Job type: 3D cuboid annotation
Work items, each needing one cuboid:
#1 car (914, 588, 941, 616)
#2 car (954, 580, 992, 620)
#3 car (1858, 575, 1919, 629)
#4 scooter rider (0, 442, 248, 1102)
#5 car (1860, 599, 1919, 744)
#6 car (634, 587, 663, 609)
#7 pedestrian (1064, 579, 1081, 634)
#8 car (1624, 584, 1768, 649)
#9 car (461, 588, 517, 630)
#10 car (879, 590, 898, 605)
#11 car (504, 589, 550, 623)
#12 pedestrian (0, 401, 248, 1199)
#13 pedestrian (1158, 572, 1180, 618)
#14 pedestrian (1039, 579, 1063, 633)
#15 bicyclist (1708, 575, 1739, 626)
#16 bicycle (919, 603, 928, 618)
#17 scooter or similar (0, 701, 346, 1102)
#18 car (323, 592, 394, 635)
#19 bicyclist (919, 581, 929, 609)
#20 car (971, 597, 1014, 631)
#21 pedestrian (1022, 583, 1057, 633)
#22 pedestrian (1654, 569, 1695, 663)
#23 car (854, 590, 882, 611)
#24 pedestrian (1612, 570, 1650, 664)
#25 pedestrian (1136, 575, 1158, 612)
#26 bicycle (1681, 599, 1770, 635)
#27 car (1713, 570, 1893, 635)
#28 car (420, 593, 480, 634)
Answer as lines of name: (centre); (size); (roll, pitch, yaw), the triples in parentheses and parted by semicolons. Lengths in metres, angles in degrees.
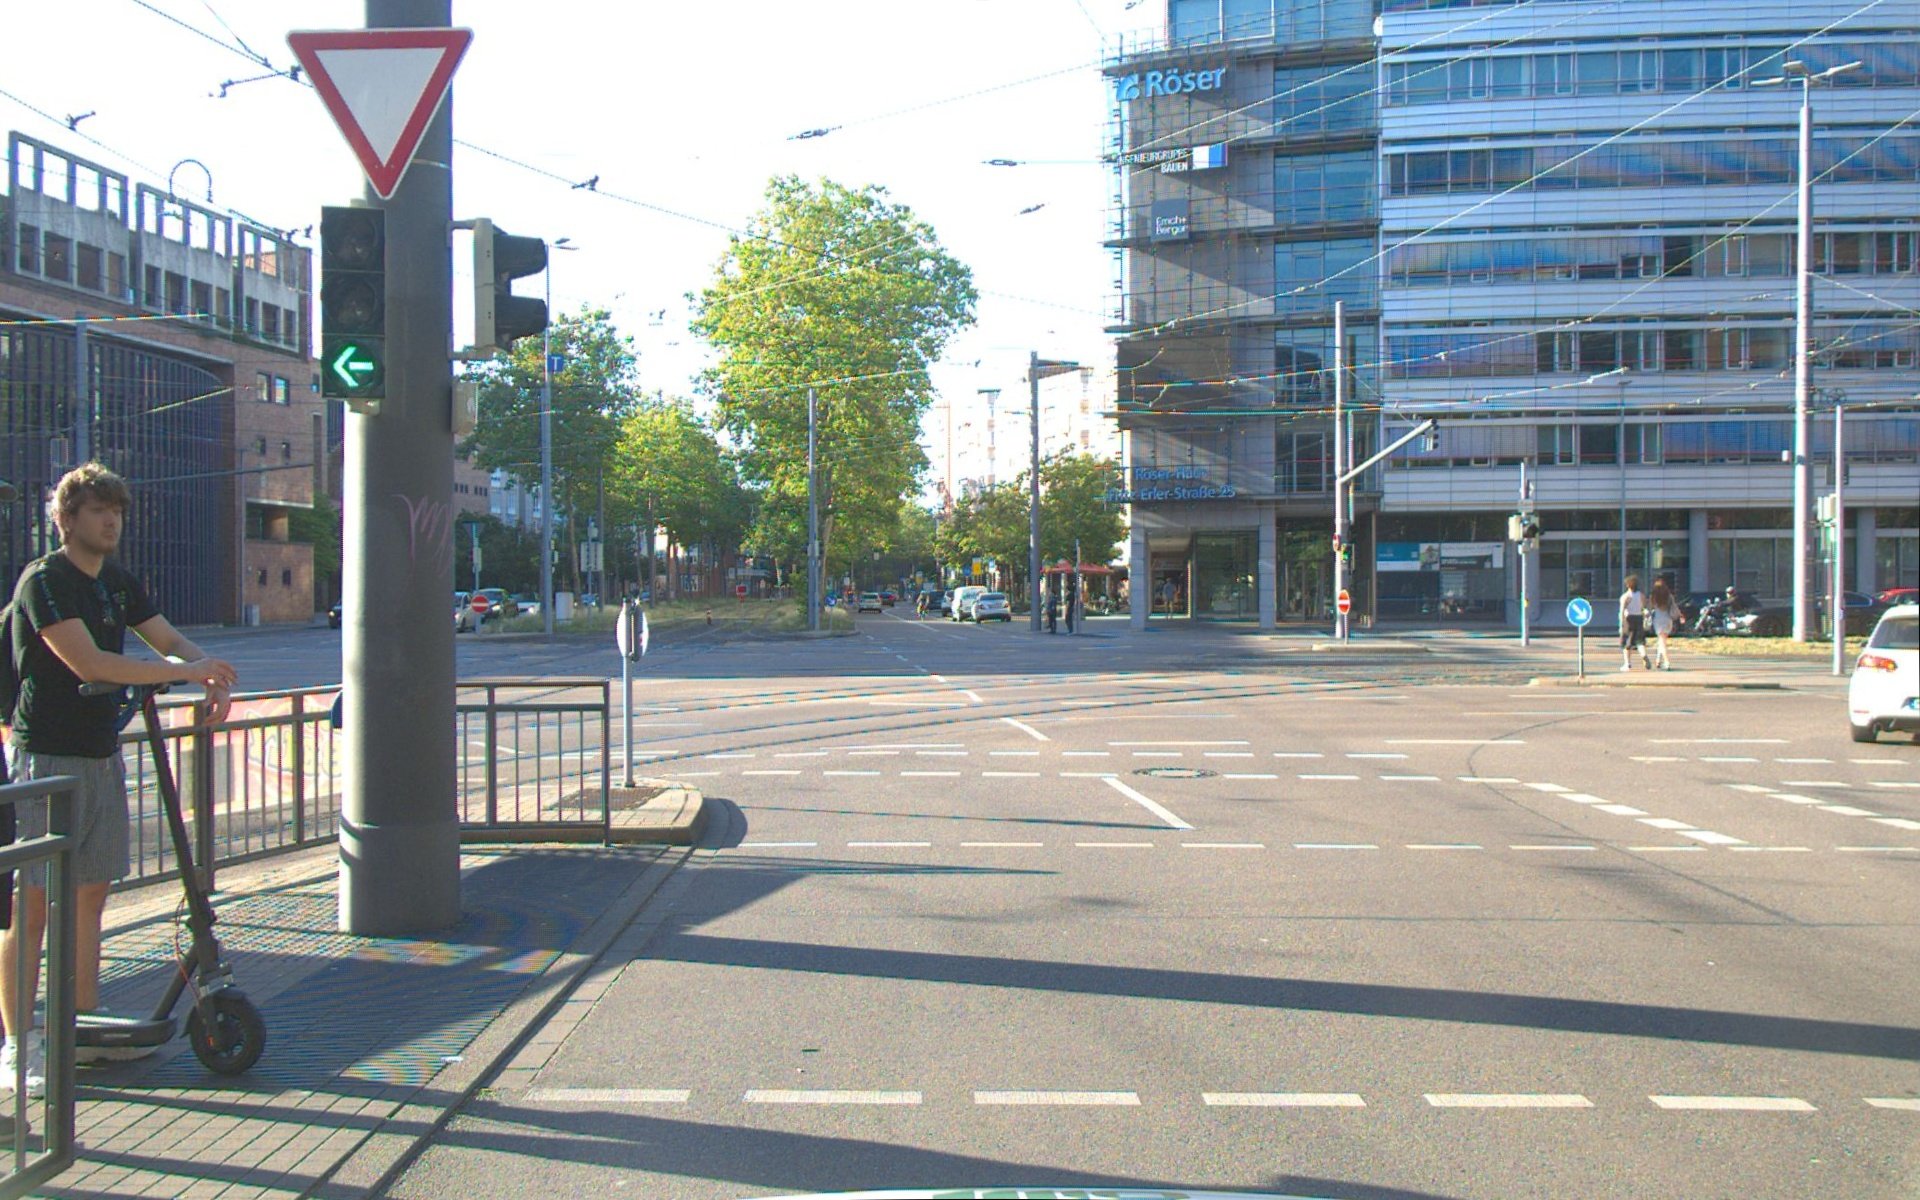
car: (-2.468, 0.147, 126.717); (1.953, 2.049, 3.999); (1, 0, -1)
car: (0.665, 0.003, 89.572); (1.953, 2.049, 3.999); (1, 0, -1)
car: (29.428, 0.086, 49.668); (3.903, 1.579, 1.798); (1, 0, 4)
scooter rider: (-2.631, 0.499, 5.093); (0.554, 1.885, 0.680); (-1, -2, 4)
car: (11.026, 0.727, 18.147); (1.607, 1.453, 3.973); (1, 0, 35)
car: (-27.388, -0.190, 145.516); (1.807, 1.814, 3.999); (-1, 0, -1)
pedestrian: (4.286, 0.251, 62.868); (0.574, 2.049, 0.620); (1, -1, 0)
car: (24.494, 0.534, 55.128); (3.906, 2.049, 2.000); (1, 0, -1)
car: (-21.221, 0.405, 74.618); (1.787, 1.821, 3.994); (-1, 0, -7)
car: (-7.184, -0.274, 165.577); (1.729, 1.429, 4.292); (0, 0, -5)
car: (-21.533, 0.309, 82.414); (1.644, 1.635, 3.994); (1, 0, -7)
pedestrian: (-2.645, 0.501, 4.327); (1.143, 1.917, 0.854); (-1, 0, 4)
pedestrian: (9.437, -0.233, 74.780); (0.852, 2.049, 0.793); (1, -2, -1)
pedestrian: (3.536, 0.233, 64.326); (0.832, 2.049, 0.707); (1, -1, -3)
bicyclist: (22.988, 0.022, 49.824); (0.649, 1.529, 0.613); (-1, 0, 4)
bicycle: (-1.953, 0.565, 88.408); (0.481, 0.802, 1.861); (1, 0, -1)
scooter or similar: (-2.605, 0.888, 5.072); (1.177, 1.100, 0.648); (-1, 0, 3)
car: (-30.355, 0.662, 83.572); (1.837, 2.049, 4.472); (-1, 0, 2)
bicyclist: (-1.934, -0.263, 88.344); (0.477, 1.465, 0.615); (1, -1, -1)
car: (1.614, 0.668, 82.725); (1.988, 1.624, 3.999); (1, 0, -1)
pedestrian: (3.180, 0.303, 66.295); (1.315, 1.984, 1.011); (0, 0, -1)
pedestrian: (13.823, 0.310, 31.986); (0.670, 1.789, 0.741); (-1, 0, 26)
car: (-6.699, 0.036, 120.558); (1.712, 1.443, 4.001); (1, 1, 1)
pedestrian: (13.028, 0.322, 32.127); (0.663, 1.789, 0.742); (-1, 0, 21)
pedestrian: (11.518, -0.383, 101.717); (1.285, 2.228, 1.171); (1, -1, 5)
bicycle: (23.041, 0.501, 49.824); (2.359, 1.040, 0.637); (-1, 0, 4)
car: (24.049, 0.069, 47.303); (4.165, 1.753, 1.885); (-1, 0, 2)
car: (-20.619, 0.526, 66.952); (1.591, 1.604, 3.994); (-1, 0, -7)
